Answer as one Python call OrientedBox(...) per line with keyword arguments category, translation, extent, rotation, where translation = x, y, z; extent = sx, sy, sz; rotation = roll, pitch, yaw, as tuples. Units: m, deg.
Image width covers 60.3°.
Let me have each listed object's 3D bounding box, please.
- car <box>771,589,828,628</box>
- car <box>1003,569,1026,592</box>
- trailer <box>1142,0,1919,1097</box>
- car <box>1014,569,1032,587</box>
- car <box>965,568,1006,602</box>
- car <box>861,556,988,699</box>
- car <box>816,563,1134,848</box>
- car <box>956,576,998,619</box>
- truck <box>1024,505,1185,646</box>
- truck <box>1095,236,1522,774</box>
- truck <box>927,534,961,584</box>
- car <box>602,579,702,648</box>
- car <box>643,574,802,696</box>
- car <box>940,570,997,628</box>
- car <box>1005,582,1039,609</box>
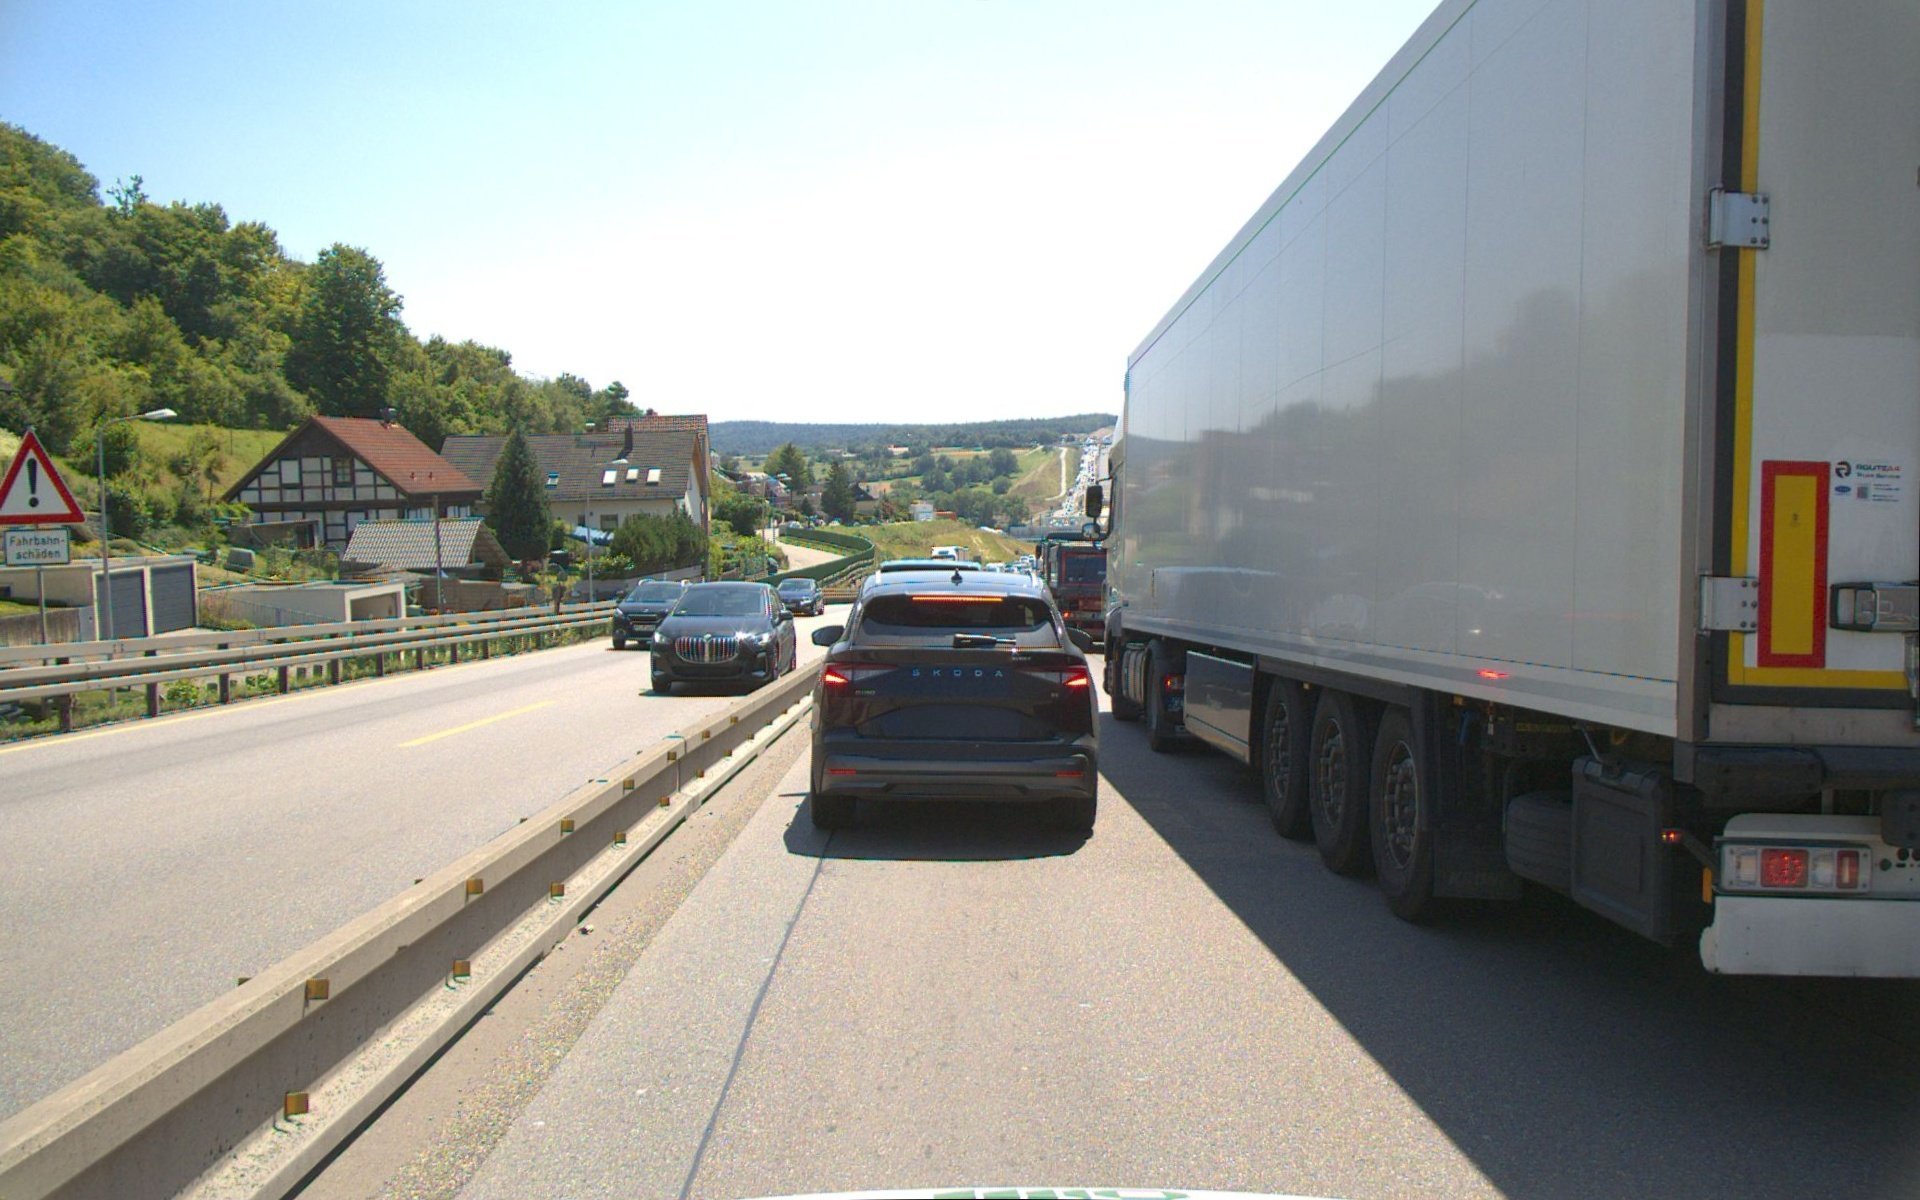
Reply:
OrientedBox(category="car", translation=(-6.356, 0.320, 65.841), extent=(1.804, 1.443, 4.686), rotation=(-1, 0, -1))
OrientedBox(category="car", translation=(4.212, -1.501, 127.696), extent=(1.665, 1.758, 3.838), rotation=(1, 0, 4))
OrientedBox(category="trailer", translation=(3.184, -0.761, 10.242), extent=(2.481, 4.199, 11.544), rotation=(1, 0, -2))
OrientedBox(category="car", translation=(6.252, -2.160, 163.746), extent=(1.665, 1.758, 3.838), rotation=(1, 0, 4))
OrientedBox(category="car", translation=(1.248, -0.733, 82.314), extent=(1.952, 1.613, 3.836), rotation=(1, 0, 0))
OrientedBox(category="car", translation=(-0.601, 0.327, 24.500), extent=(1.673, 1.914, 3.997), rotation=(1, 2, -4))
OrientedBox(category="car", translation=(-0.045, 0.604, 11.362), extent=(1.806, 1.614, 3.904), rotation=(1, 0, -4))
OrientedBox(category="car", translation=(0.682, -0.132, 68.642), extent=(1.672, 1.650, 4.000), rotation=(1, 2, -1))
OrientedBox(category="truck", translation=(3.569, -0.568, 44.441), extent=(3.130, 3.247, 12.807), rotation=(0, 0, 0))
OrientedBox(category="truck", translation=(3.015, -0.727, 16.799), extent=(2.462, 4.095, 8.236), rotation=(1, 0, -1))
OrientedBox(category="truck", translation=(-1.433, -3.668, 148.289), extent=(2.694, 4.358, 4.959), rotation=(1, 1, 3))
OrientedBox(category="car", translation=(-7.062, 0.299, 38.229), extent=(1.671, 1.490, 3.680), rotation=(1, 0, -1))
OrientedBox(category="car", translation=(-3.477, 0.481, 24.911), extent=(1.782, 1.614, 4.158), rotation=(2, 0, -1))
OrientedBox(category="car", translation=(0.224, -0.059, 51.268), extent=(1.672, 1.650, 4.000), rotation=(1, 2, -1))
OrientedBox(category="car", translation=(3.783, -0.263, 101.822), extent=(1.952, 1.613, 3.836), rotation=(1, 0, 0))
